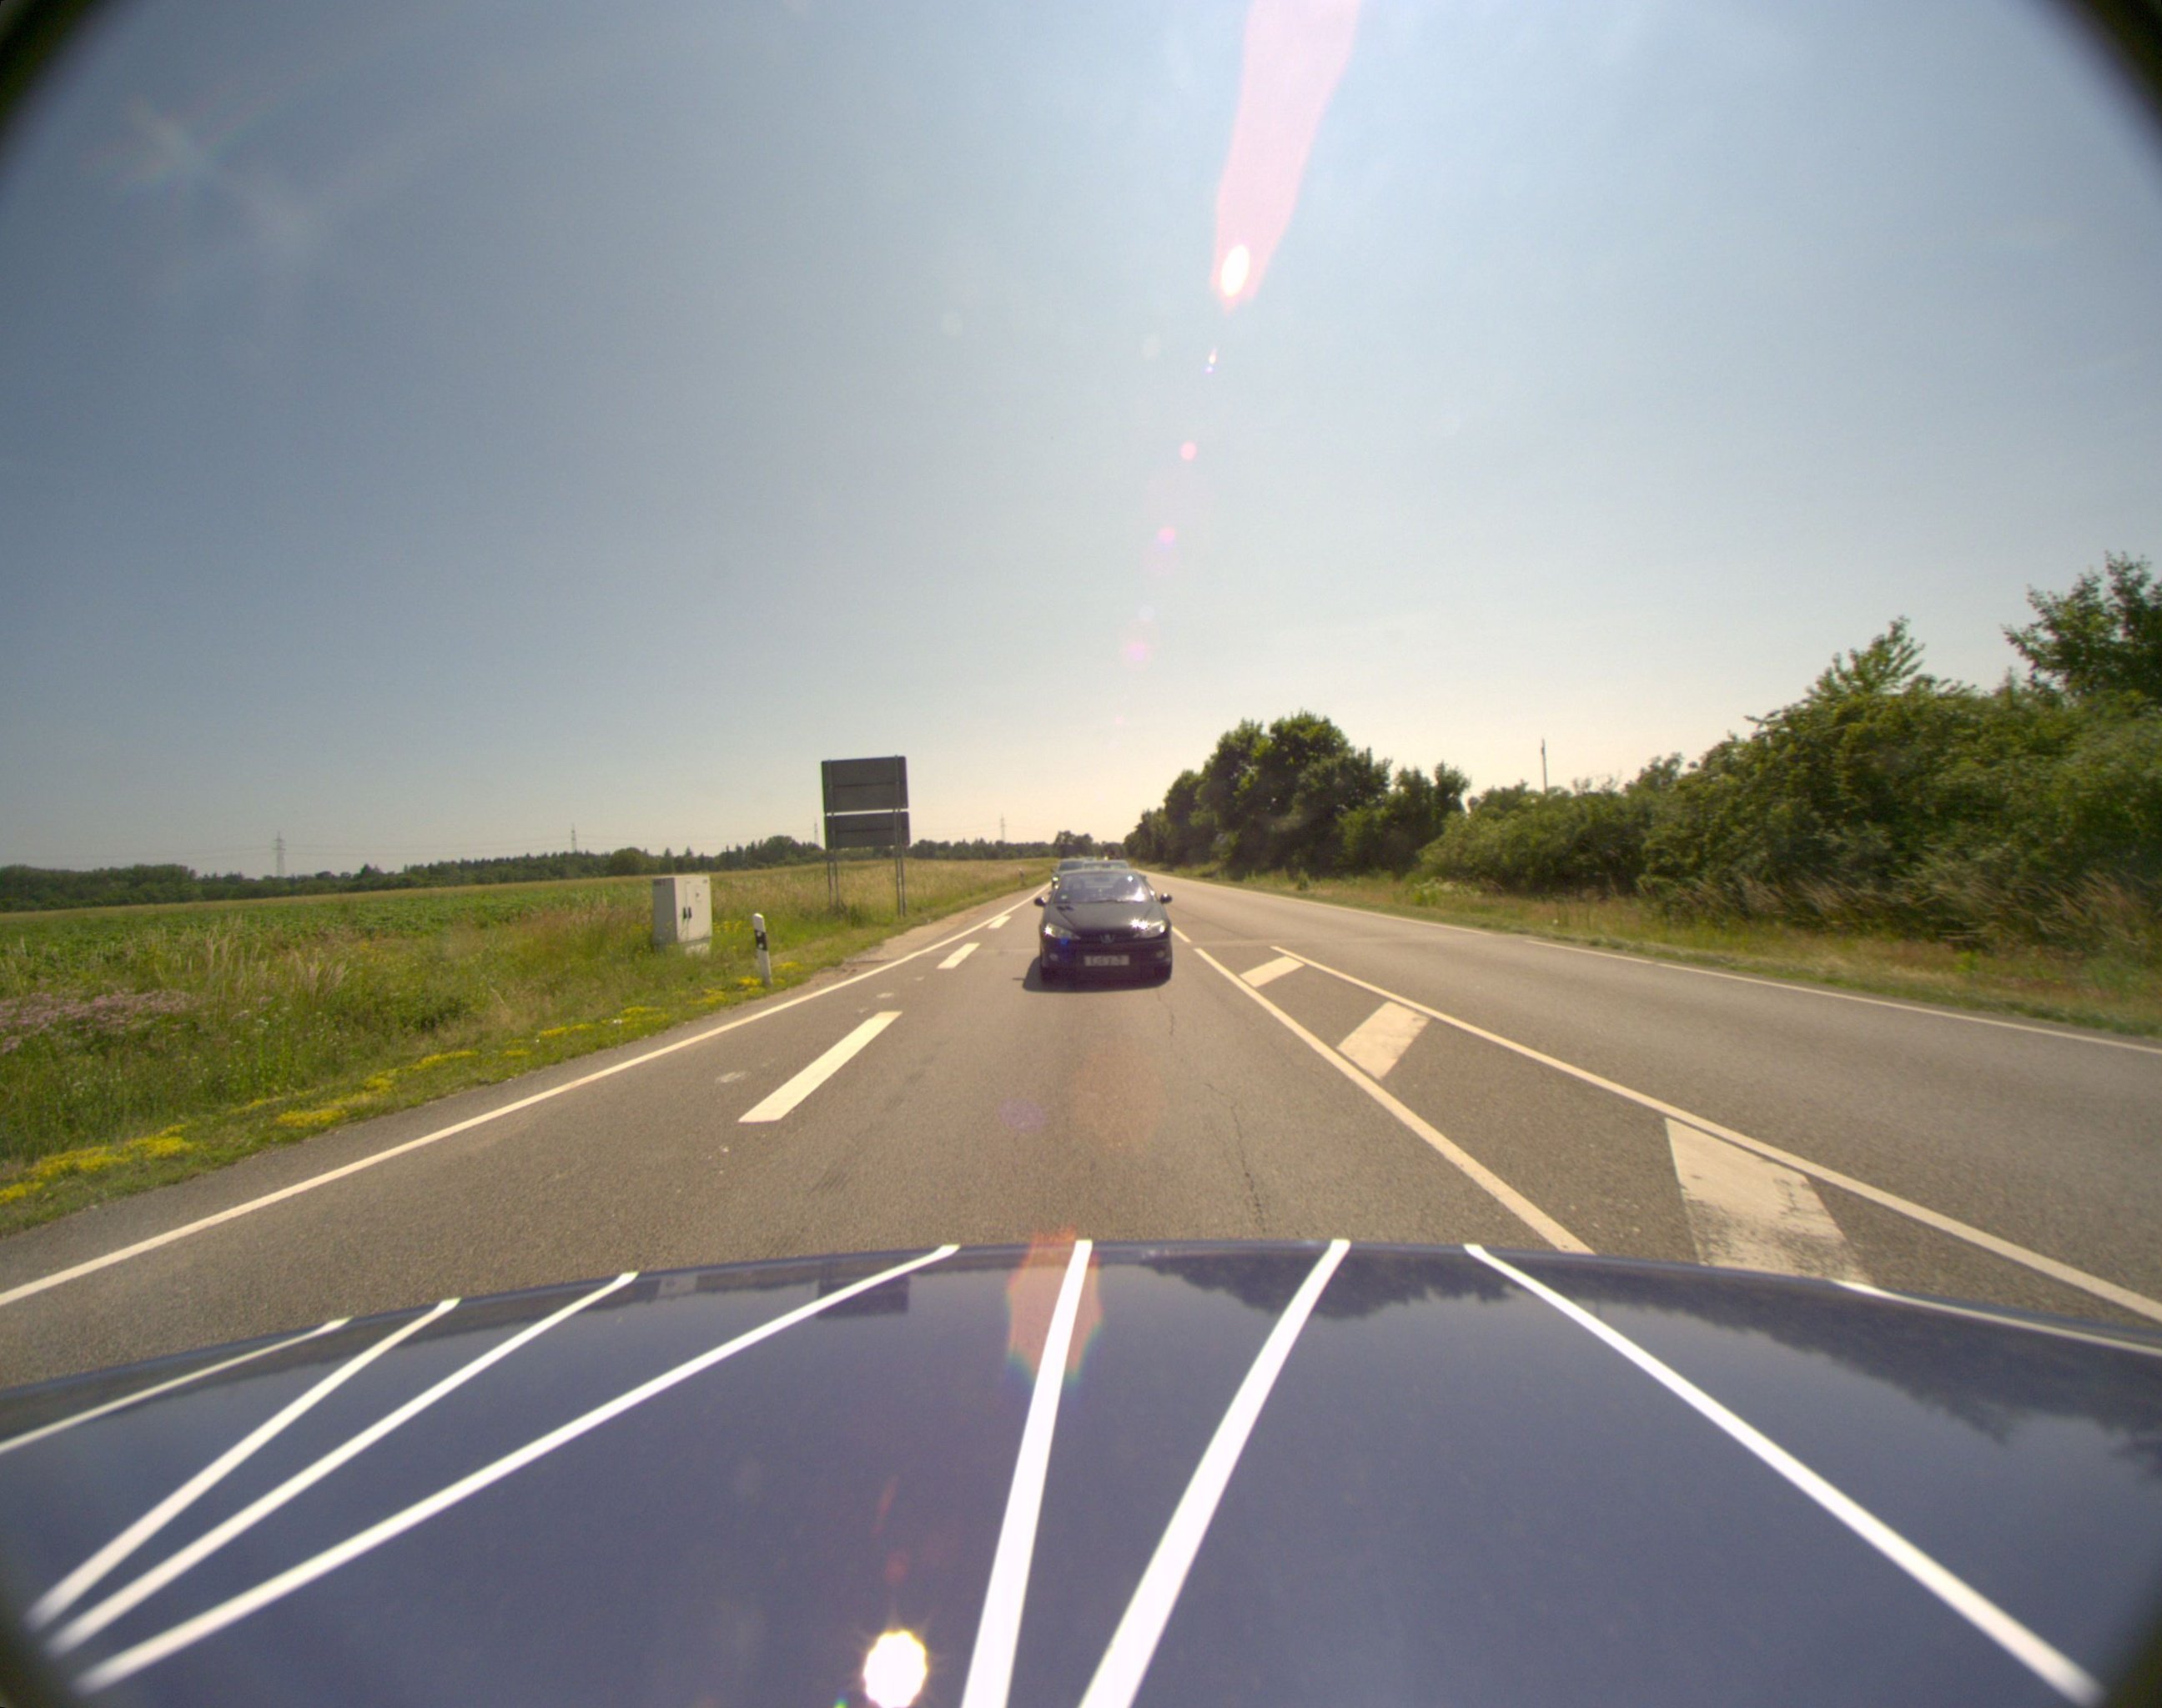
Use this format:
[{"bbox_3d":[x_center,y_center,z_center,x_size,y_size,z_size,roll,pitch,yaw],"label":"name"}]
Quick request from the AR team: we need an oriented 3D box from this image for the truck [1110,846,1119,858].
[{"bbox_3d":[11.262,-0.817,254.544,2.709,3.908,5.951,-1,0,-1],"label":"truck"}]

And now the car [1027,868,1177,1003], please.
[{"bbox_3d":[0.264,0.969,10.523,1.665,1.389,3.731,-2,0,1],"label":"car"}]

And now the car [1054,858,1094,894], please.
[{"bbox_3d":[-0.278,0.941,34.307,1.665,1.449,4.173,-2,0,0],"label":"car"}]

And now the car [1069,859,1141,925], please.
[{"bbox_3d":[0.633,0.911,19.849,1.665,1.477,3.732,-2,0,2],"label":"car"}]

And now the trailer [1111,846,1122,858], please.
[{"bbox_3d":[11.383,-0.626,247.361,2.669,3.440,14.947,-1,0,-1],"label":"trailer"}]
